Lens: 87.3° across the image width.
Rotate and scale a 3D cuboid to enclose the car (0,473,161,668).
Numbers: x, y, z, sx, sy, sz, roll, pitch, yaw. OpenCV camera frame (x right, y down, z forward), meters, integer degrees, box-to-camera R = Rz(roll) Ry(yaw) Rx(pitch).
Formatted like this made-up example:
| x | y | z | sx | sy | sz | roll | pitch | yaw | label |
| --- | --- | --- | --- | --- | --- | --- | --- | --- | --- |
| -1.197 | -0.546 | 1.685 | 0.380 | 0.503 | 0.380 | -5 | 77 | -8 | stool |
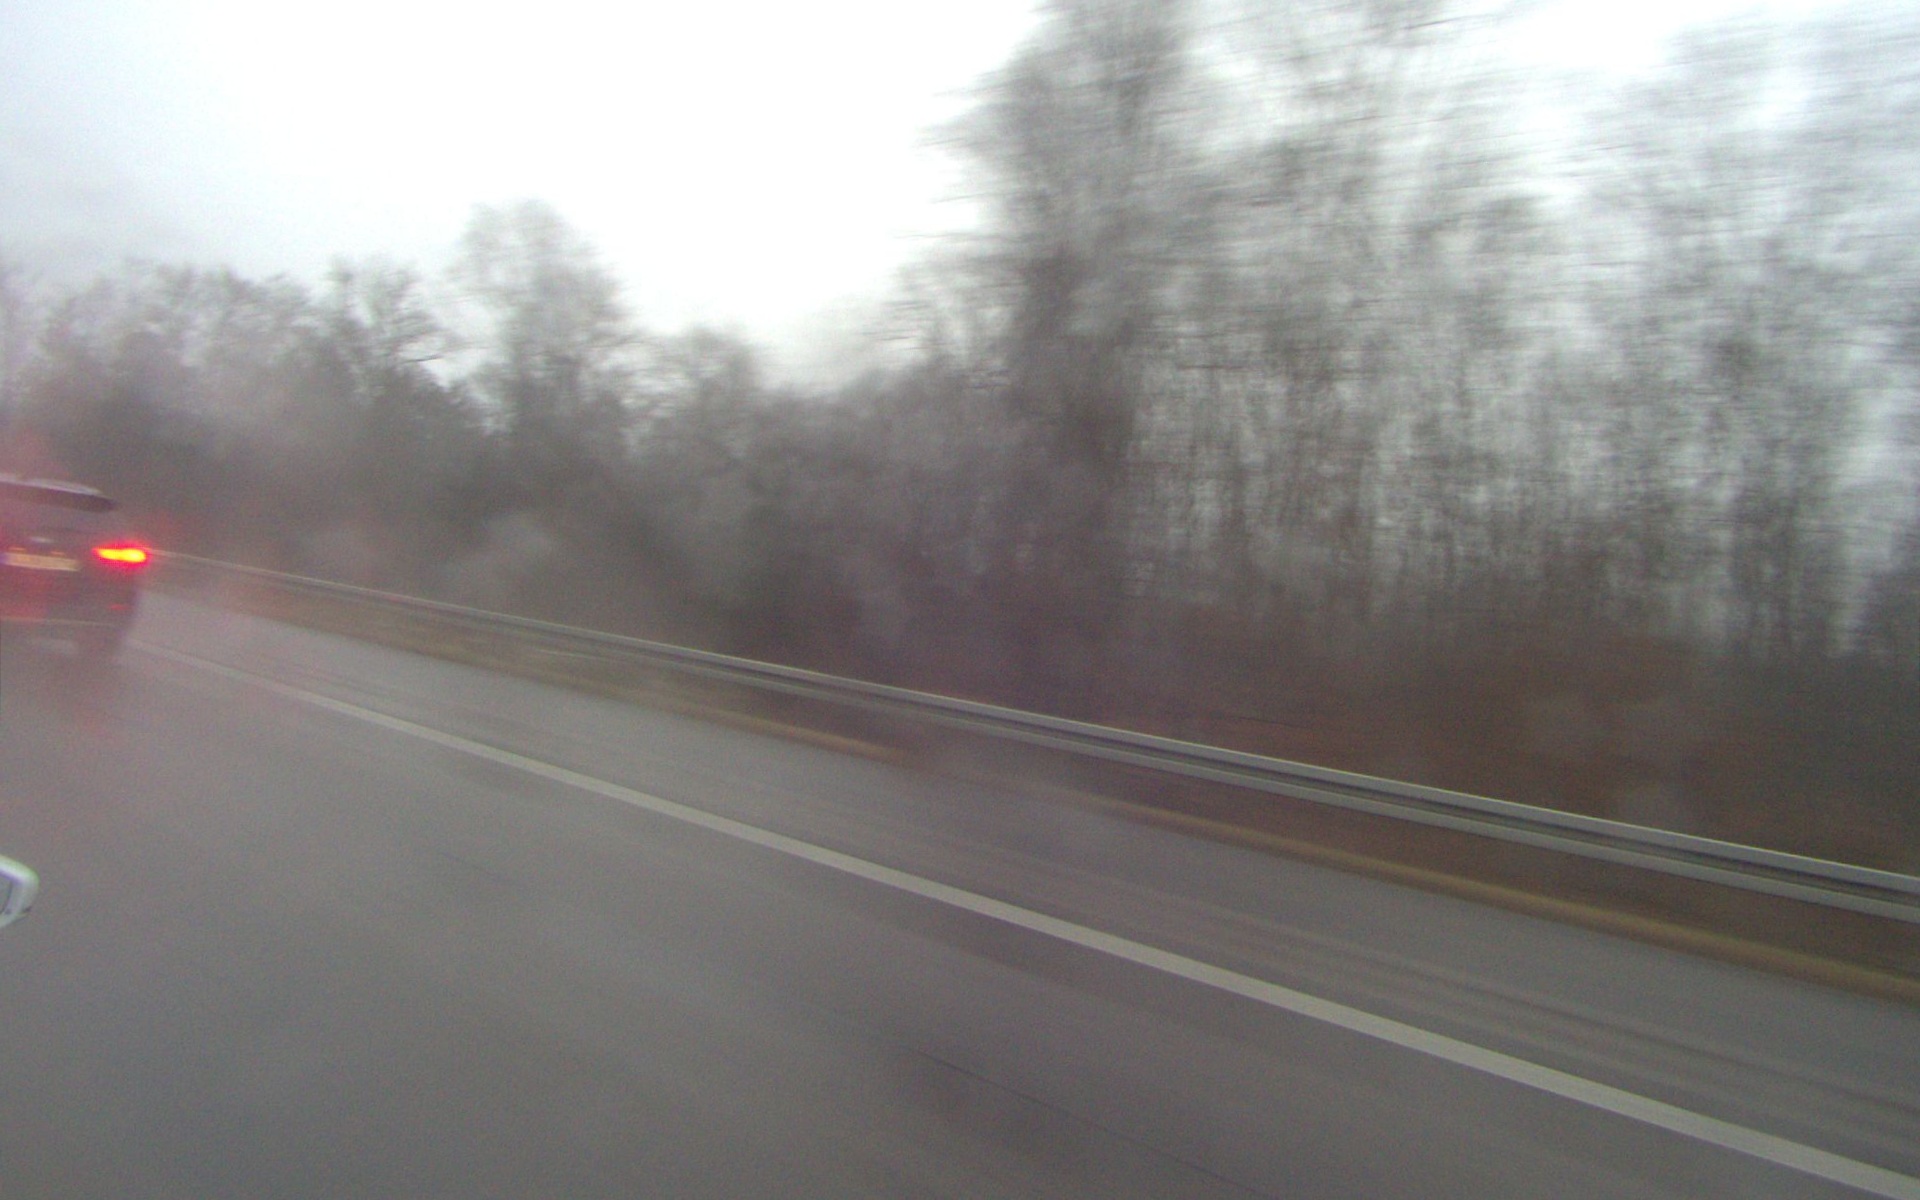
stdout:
| x | y | z | sx | sy | sz | roll | pitch | yaw | label |
| --- | --- | --- | --- | --- | --- | --- | --- | --- | --- |
| -10.502 | -0.492 | 10.356 | 4.387 | 1.717 | 2.074 | 7 | -1 | 32 | car |
